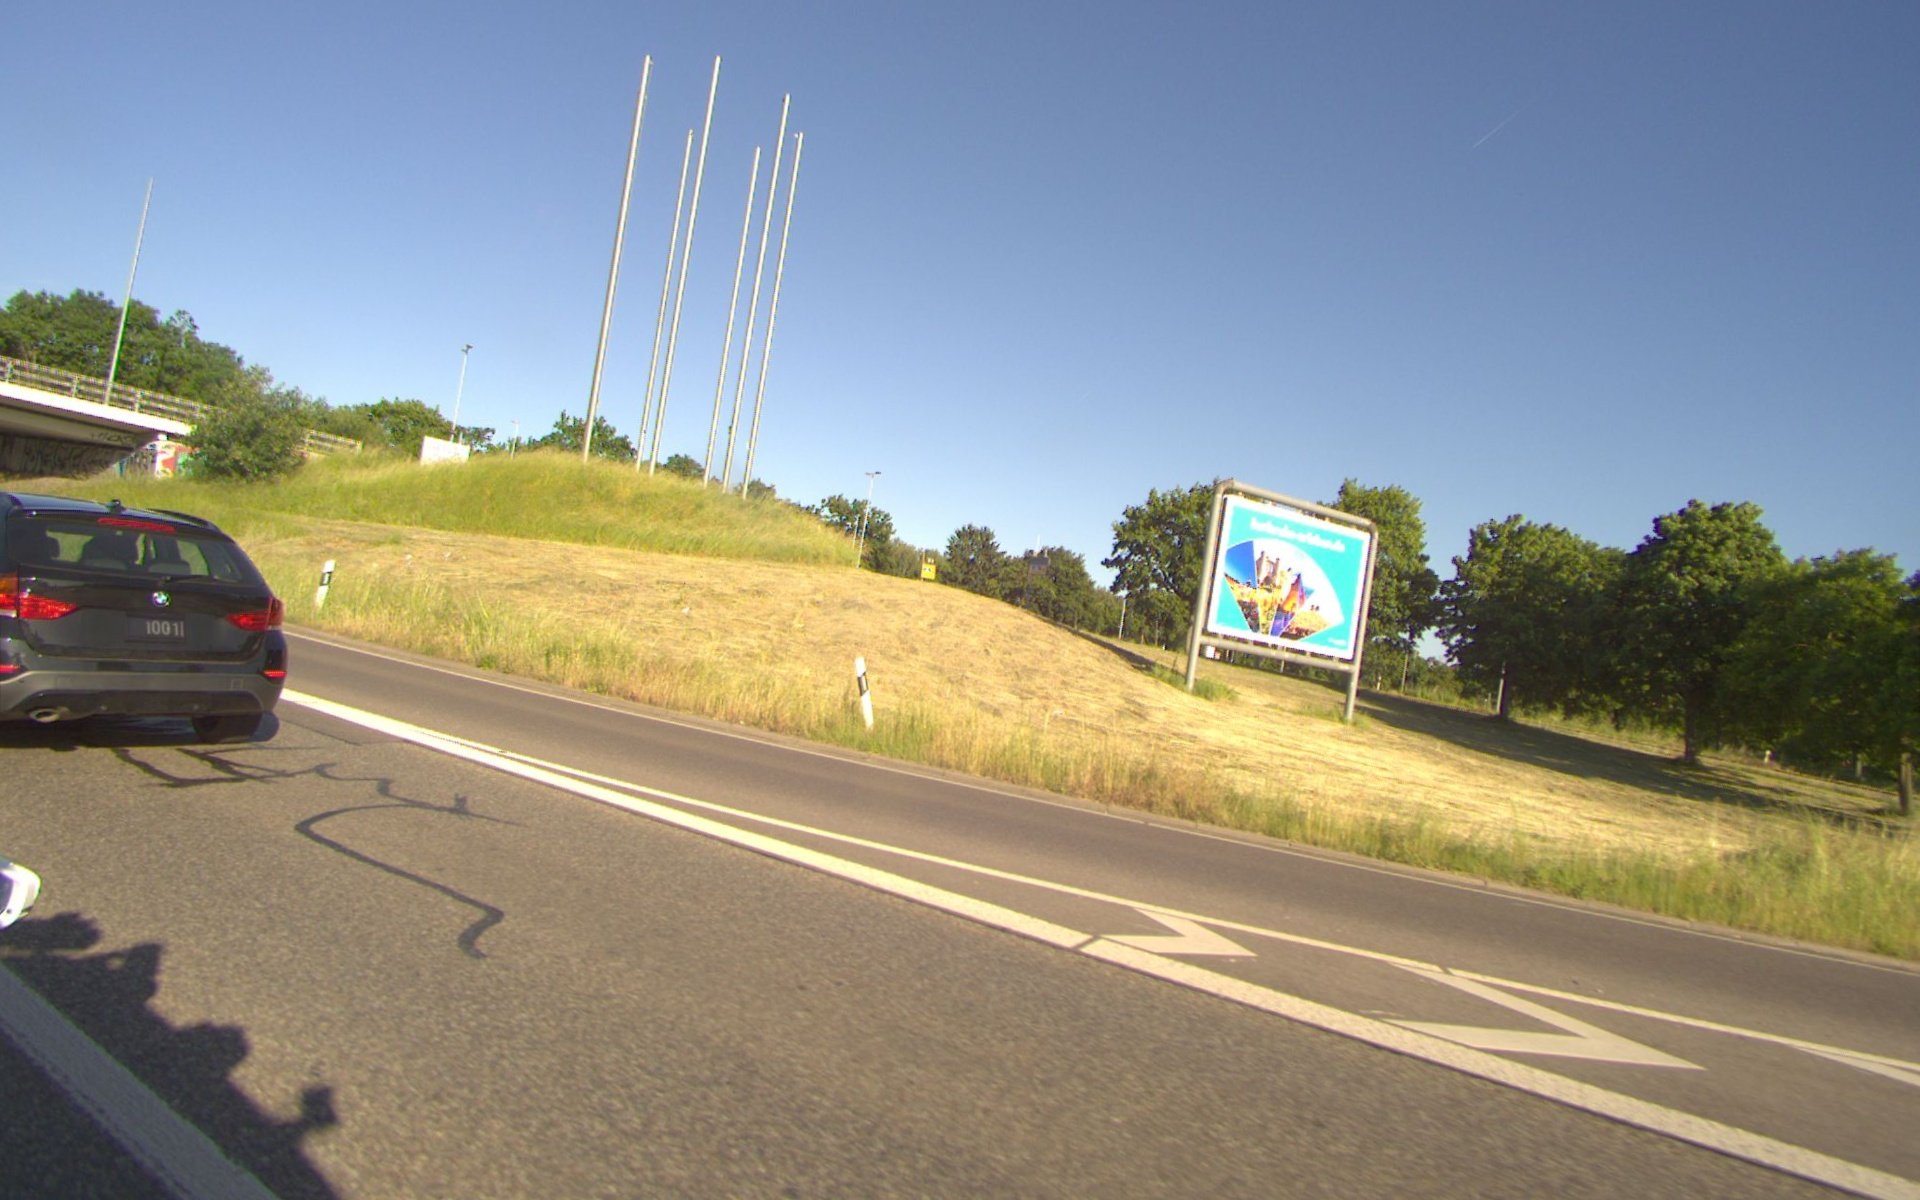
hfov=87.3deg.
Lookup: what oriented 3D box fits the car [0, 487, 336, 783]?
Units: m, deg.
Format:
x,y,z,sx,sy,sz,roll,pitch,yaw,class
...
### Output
x,y,z,sx,sy,sz,roll,pitch,yaw,class
-6.510,0.006,6.968,4.501,1.524,1.702,7,0,30,car
